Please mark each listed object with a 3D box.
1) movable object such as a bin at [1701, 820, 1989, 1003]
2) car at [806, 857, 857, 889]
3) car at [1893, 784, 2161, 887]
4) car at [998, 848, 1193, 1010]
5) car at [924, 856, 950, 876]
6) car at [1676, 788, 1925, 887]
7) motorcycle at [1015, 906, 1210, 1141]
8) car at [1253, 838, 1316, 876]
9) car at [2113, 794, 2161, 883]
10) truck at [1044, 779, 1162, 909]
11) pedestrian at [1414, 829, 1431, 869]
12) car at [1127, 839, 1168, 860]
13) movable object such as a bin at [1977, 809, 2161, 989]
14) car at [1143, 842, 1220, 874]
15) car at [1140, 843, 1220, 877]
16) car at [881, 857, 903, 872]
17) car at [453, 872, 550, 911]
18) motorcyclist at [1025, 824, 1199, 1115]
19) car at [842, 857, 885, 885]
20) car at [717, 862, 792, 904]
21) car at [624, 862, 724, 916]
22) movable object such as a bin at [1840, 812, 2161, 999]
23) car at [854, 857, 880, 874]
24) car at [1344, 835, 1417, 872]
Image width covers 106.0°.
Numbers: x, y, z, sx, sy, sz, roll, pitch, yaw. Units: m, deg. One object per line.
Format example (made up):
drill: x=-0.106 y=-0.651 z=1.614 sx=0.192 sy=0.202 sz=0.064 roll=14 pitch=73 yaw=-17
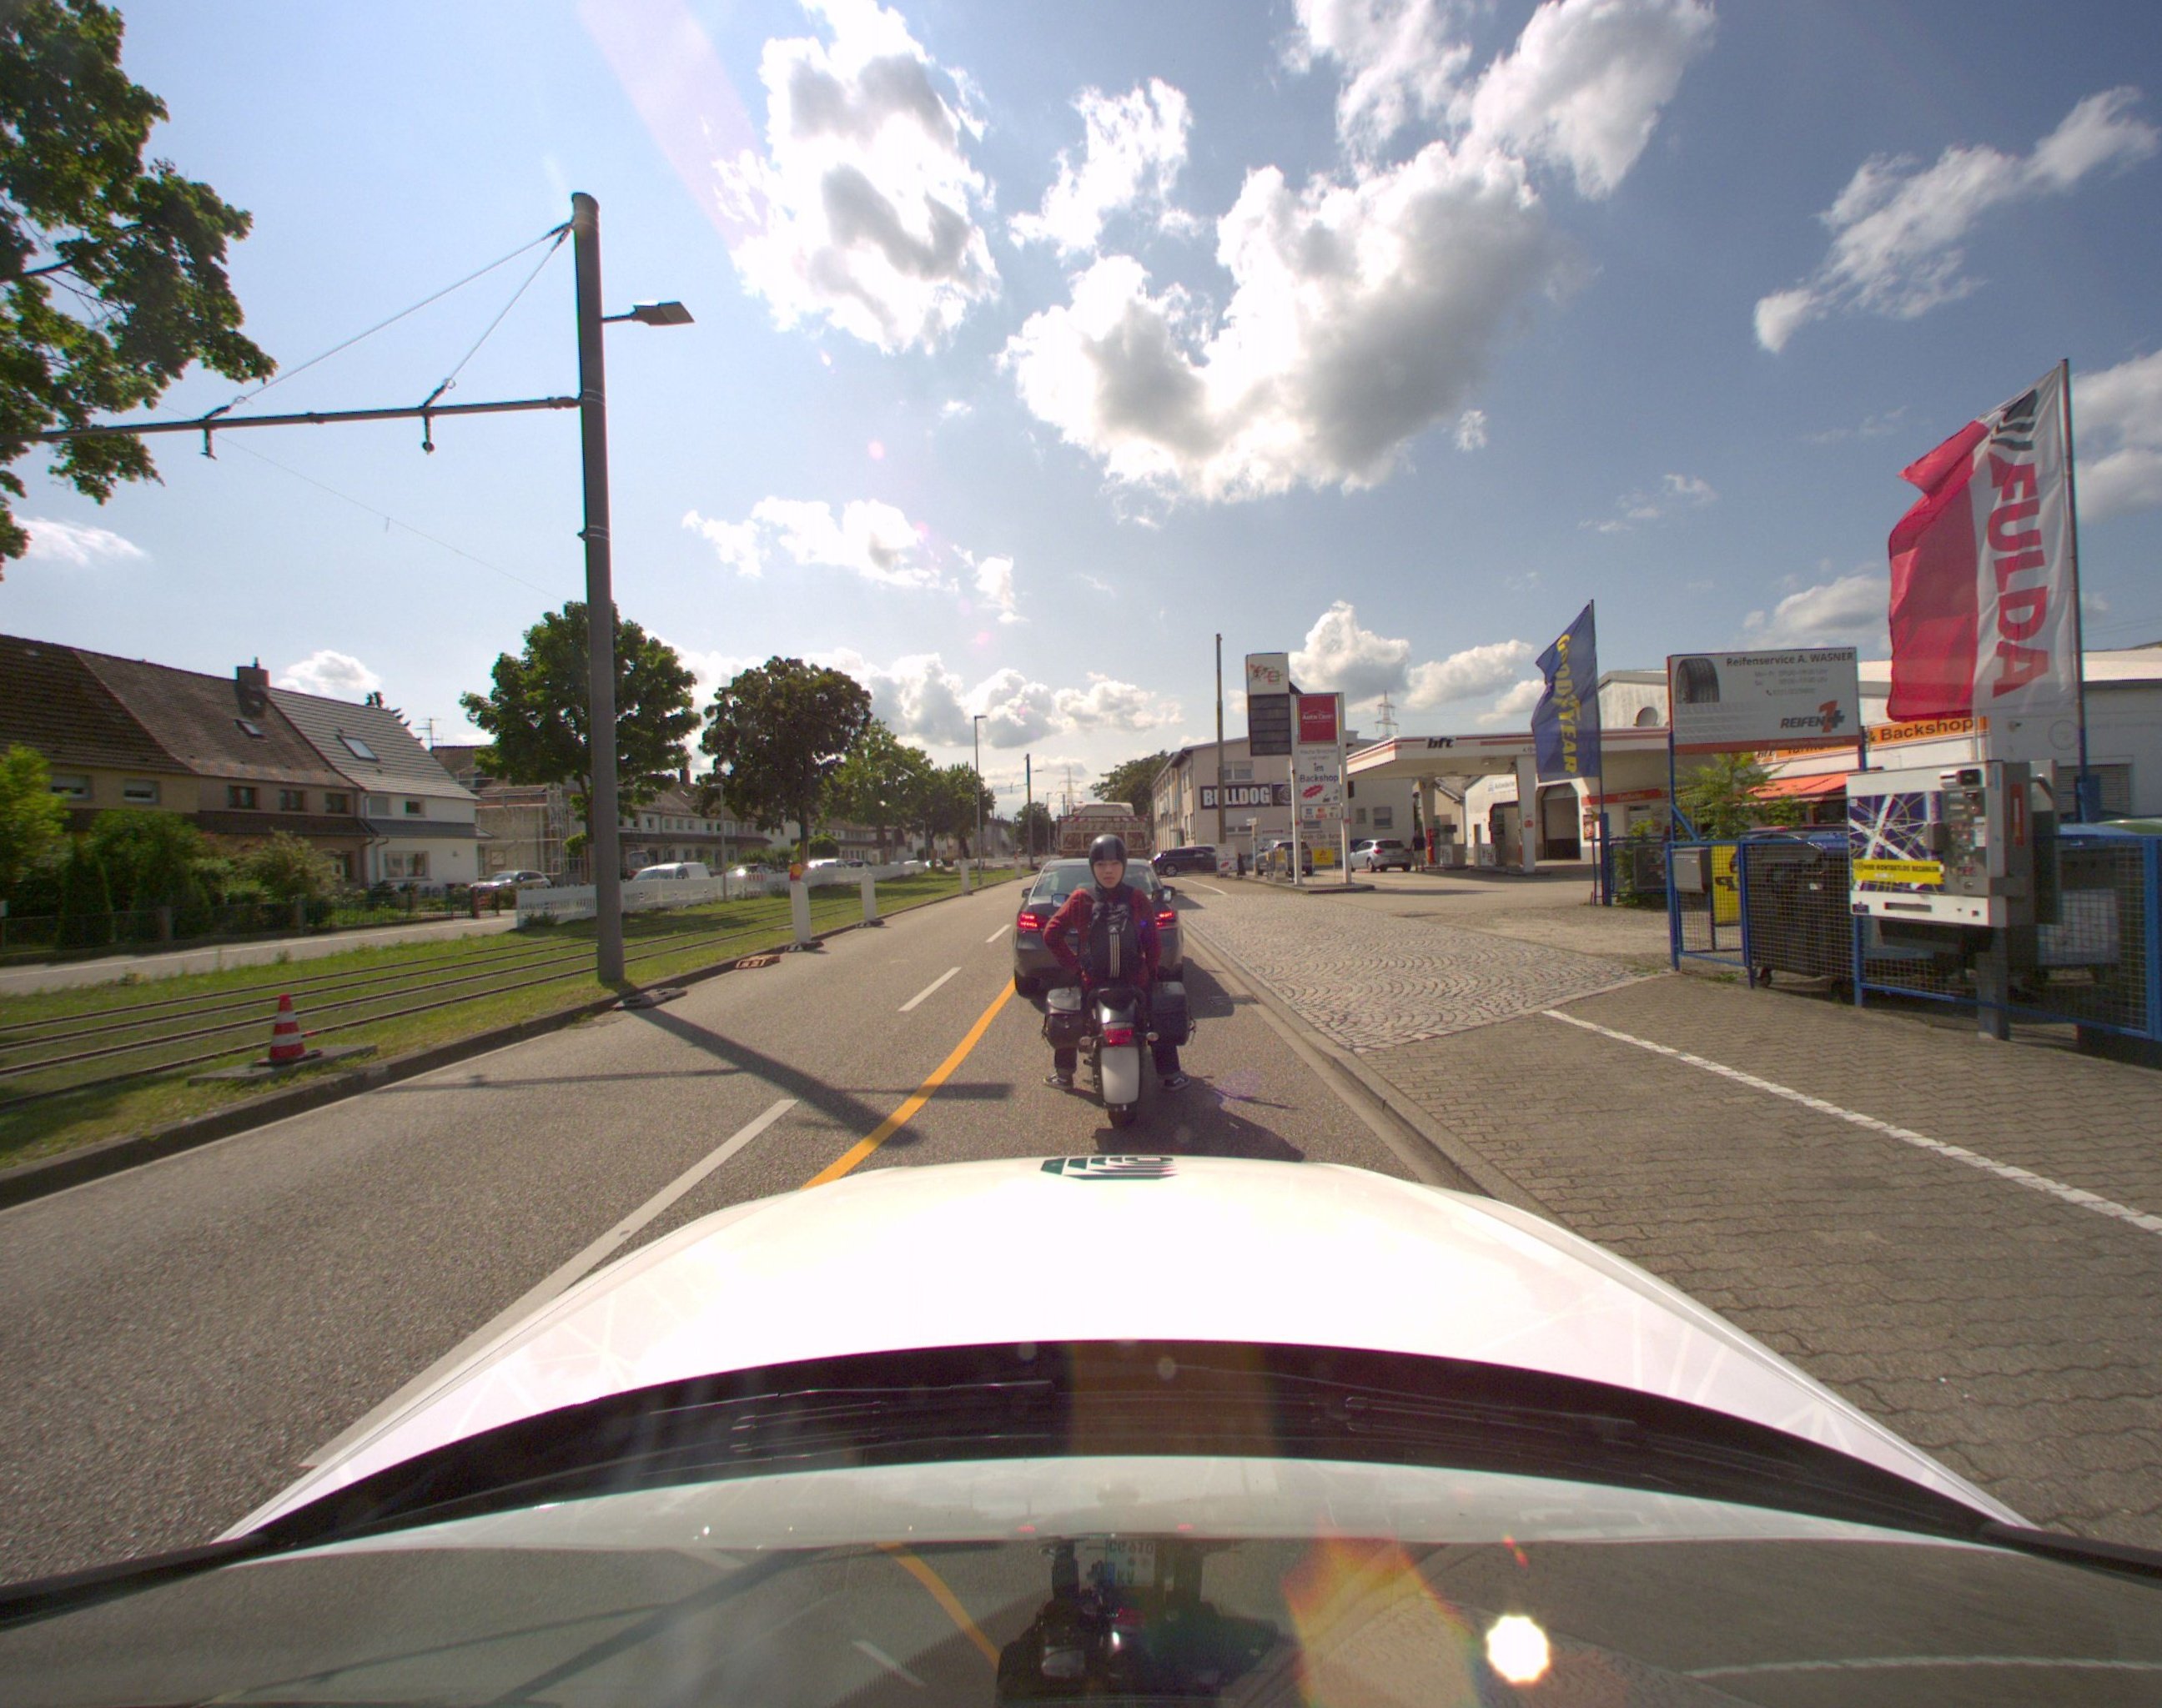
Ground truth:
movable object such as a bin: x=6.825 y=0.468 z=7.411 sx=1.222 sy=1.454 sz=1.455 roll=-2 pitch=0 yaw=0
car: x=-15.092 y=1.111 z=49.398 sx=1.692 sy=1.739 sz=3.862 roll=-2 pitch=0 yaw=2
car: x=21.249 y=-0.403 z=18.277 sx=3.972 sy=2.013 sz=2.001 roll=-2 pitch=0 yaw=1
car: x=0.168 y=0.719 z=9.896 sx=1.826 sy=1.479 sz=4.009 roll=-3 pitch=0 yaw=1
car: x=-14.098 y=1.147 z=79.999 sx=1.692 sy=1.739 sz=3.862 roll=-2 pitch=0 yaw=2
car: x=16.602 y=-0.373 z=18.969 sx=3.972 sy=2.013 sz=2.001 roll=-2 pitch=0 yaw=1
motorcycle: x=0.196 y=0.931 z=5.320 sx=0.972 sy=1.013 sz=2.433 roll=-1 pitch=0 yaw=2
car: x=9.068 y=0.120 z=36.583 sx=1.826 sy=1.536 sz=4.009 roll=-3 pitch=0 yaw=1
car: x=26.352 y=-0.436 z=18.193 sx=3.972 sy=2.013 sz=2.001 roll=-2 pitch=0 yaw=1
truck: x=0.642 y=-0.283 z=25.611 sx=2.960 sy=3.304 sz=8.407 roll=-2 pitch=0 yaw=1
pedestrian: x=14.841 y=-0.212 z=35.395 sx=0.628 sy=1.683 sz=0.626 roll=-2 pitch=0 yaw=23
car: x=8.616 y=-0.545 z=106.064 sx=2.223 sy=2.564 sz=5.310 roll=-2 pitch=0 yaw=-38
movable object such as a bin: x=9.450 y=0.333 z=7.197 sx=1.425 sy=1.454 sz=1.455 roll=-2 pitch=0 yaw=0
car: x=5.765 y=0.226 z=47.056 sx=4.101 sy=1.624 sz=1.682 roll=-3 pitch=0 yaw=-7
car: x=5.290 y=0.325 z=43.819 sx=4.089 sy=1.624 sz=1.687 roll=-2 pitch=0 yaw=2
car: x=-24.381 y=1.343 z=105.371 sx=1.692 sy=1.739 sz=4.064 roll=-2 pitch=0 yaw=2
car: x=-27.479 y=1.731 z=38.799 sx=1.692 sy=1.593 sz=3.862 roll=-2 pitch=0 yaw=2
motorcyclist: x=0.195 y=0.652 z=5.203 sx=0.966 sy=1.633 sz=1.215 roll=-1 pitch=0 yaw=1
car: x=-14.869 y=1.139 z=55.764 sx=1.692 sy=1.739 sz=3.862 roll=-2 pitch=0 yaw=2
car: x=-15.326 y=1.324 z=38.493 sx=1.692 sy=1.739 sz=4.056 roll=-2 pitch=0 yaw=2
car: x=-15.418 y=1.277 z=31.063 sx=1.692 sy=1.817 sz=3.862 roll=-2 pitch=0 yaw=2
movable object such as a bin: x=8.104 y=0.414 z=7.287 sx=1.222 sy=1.454 sz=1.455 roll=-2 pitch=0 yaw=0
car: x=-24.466 y=1.301 z=93.145 sx=1.692 sy=1.739 sz=4.064 roll=-2 pitch=0 yaw=2
car: x=13.538 y=-0.025 z=37.076 sx=1.826 sy=1.479 sz=4.009 roll=-3 pitch=0 yaw=1
